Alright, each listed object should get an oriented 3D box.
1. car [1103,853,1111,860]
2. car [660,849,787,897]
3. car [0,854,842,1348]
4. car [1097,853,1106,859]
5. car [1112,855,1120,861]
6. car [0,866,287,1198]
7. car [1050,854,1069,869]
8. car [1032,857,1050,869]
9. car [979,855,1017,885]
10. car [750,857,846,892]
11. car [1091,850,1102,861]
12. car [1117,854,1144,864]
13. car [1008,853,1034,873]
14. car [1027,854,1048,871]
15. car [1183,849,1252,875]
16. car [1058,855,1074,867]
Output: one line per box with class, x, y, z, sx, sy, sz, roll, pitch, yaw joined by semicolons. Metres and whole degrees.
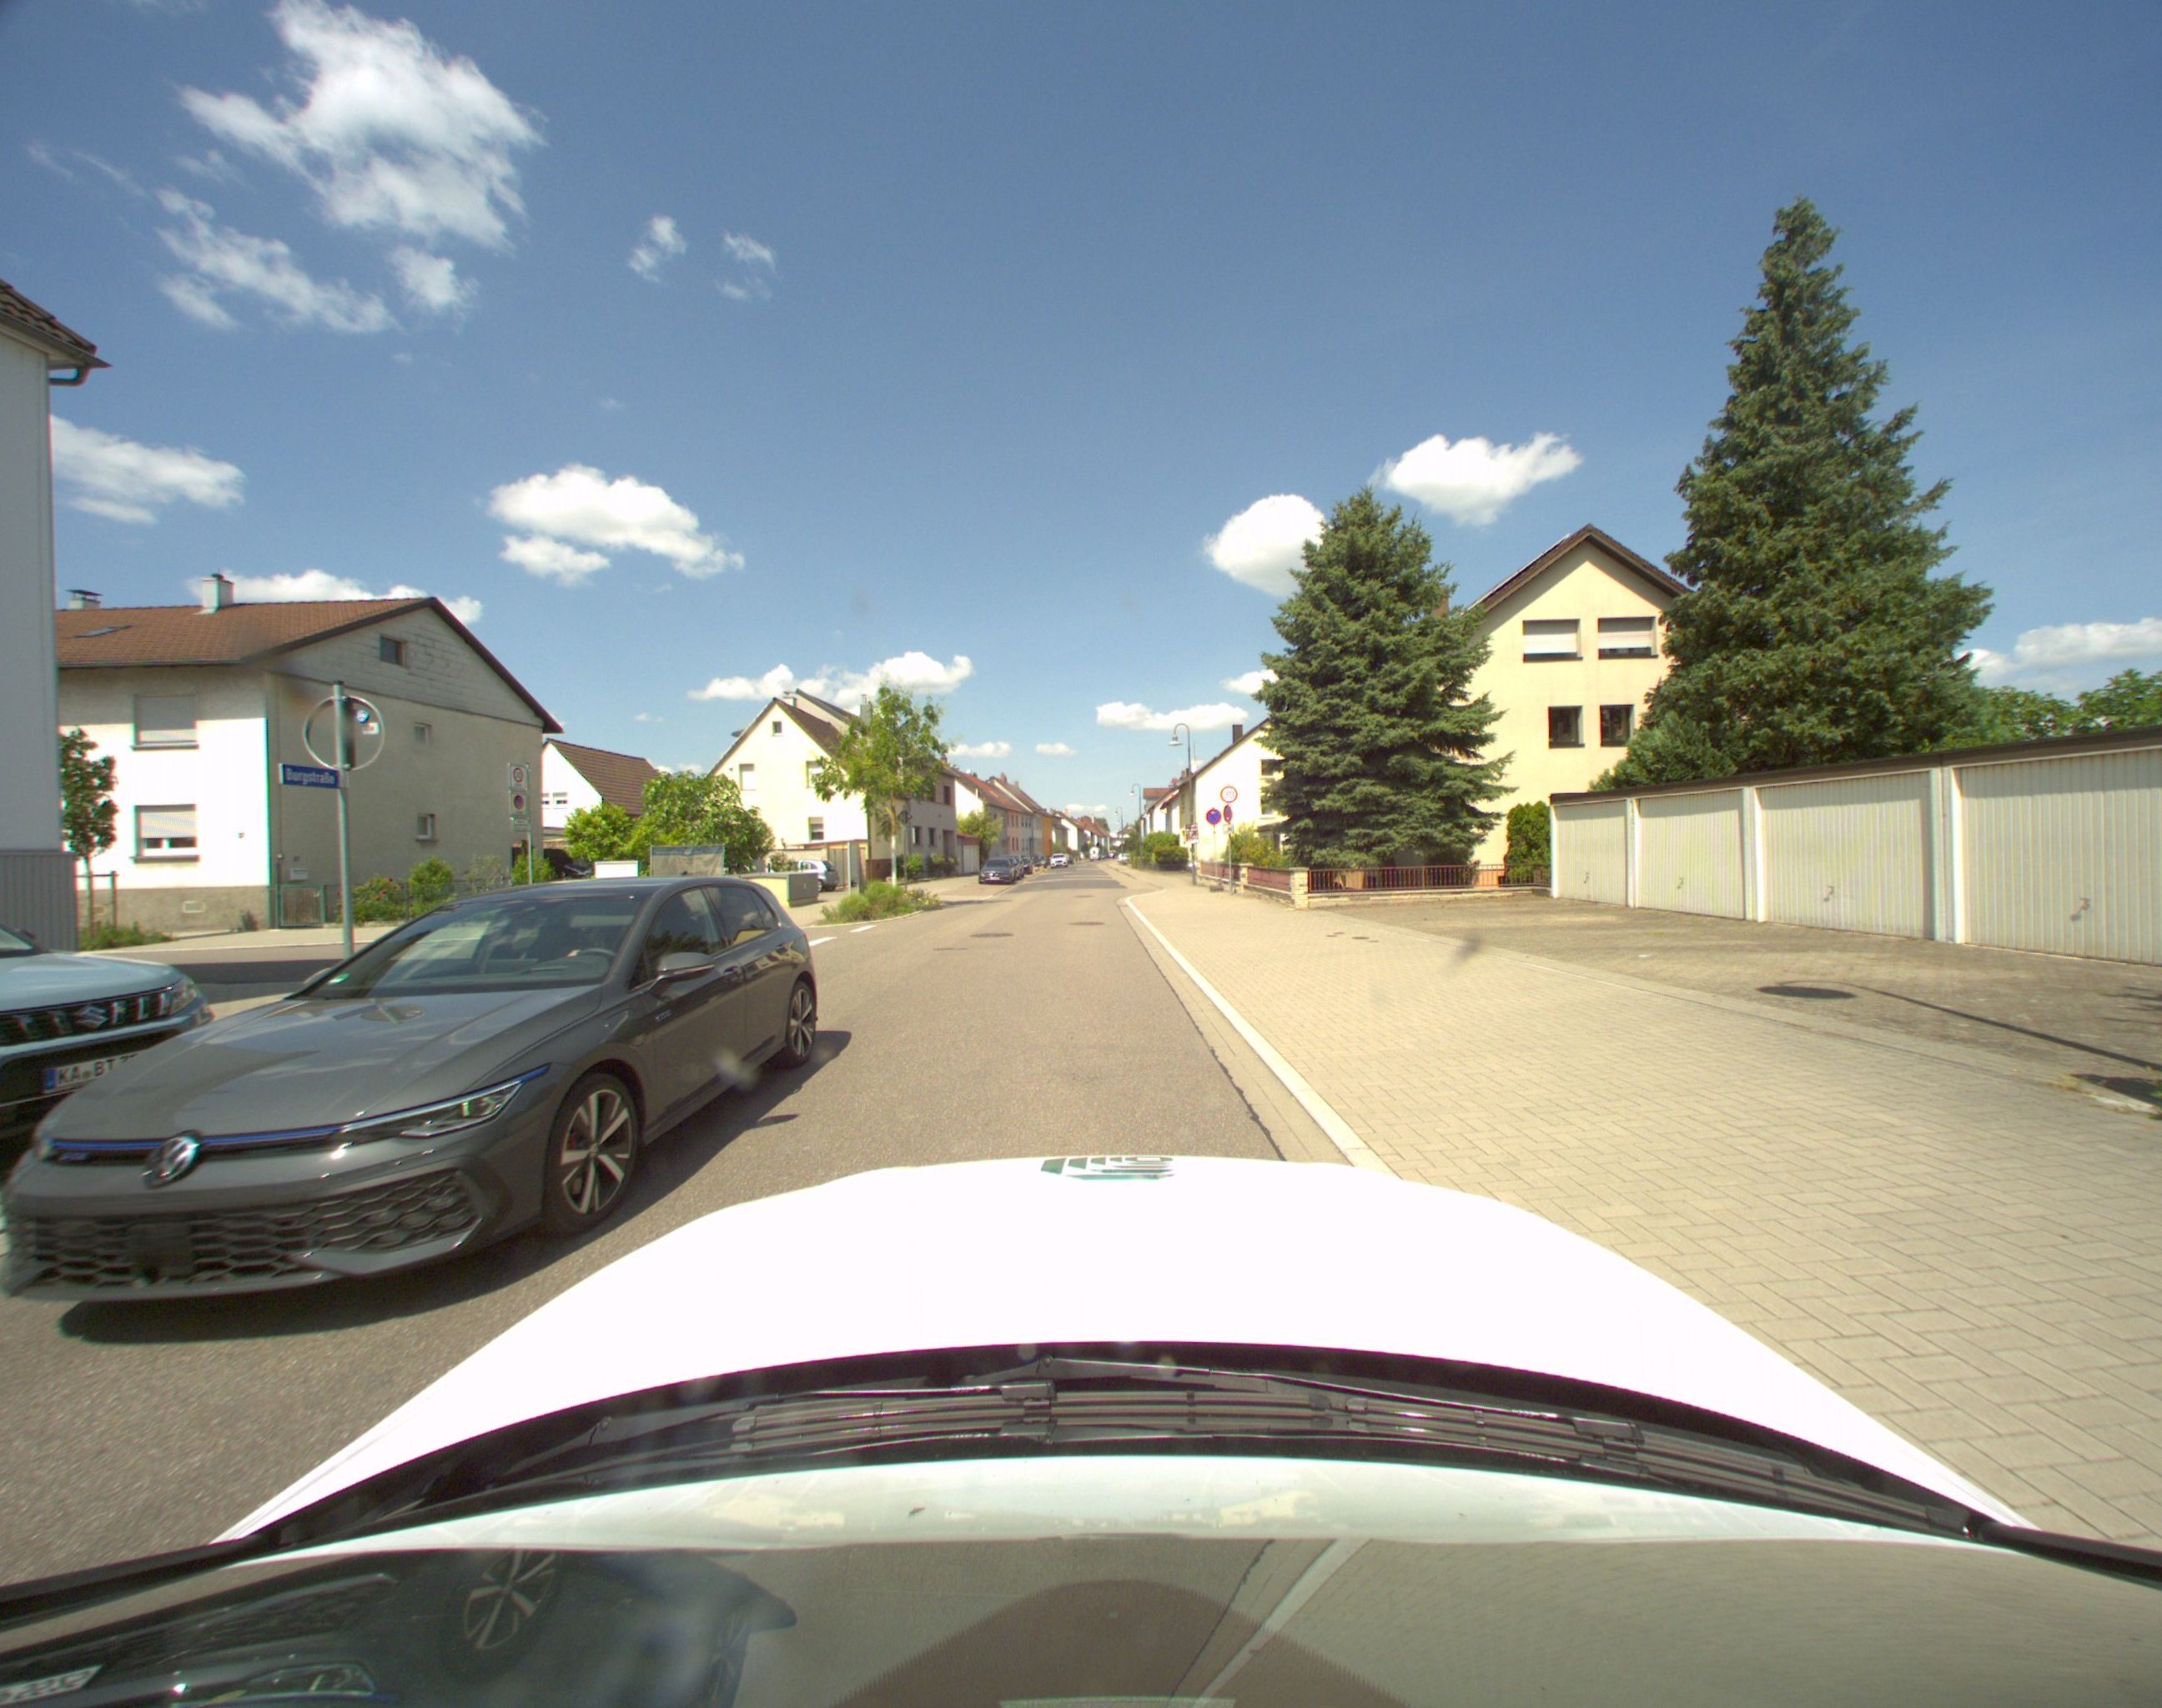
car;6.138;0.512;194.758;1.684;1.660;3.776;0;-1;4
car;-13.709;0.708;31.376;3.972;1.800;2.001;0;0;1
car;-2.884;0.811;4.691;1.757;1.523;4.048;-3;0;0
car;4.708;0.434;187.290;1.684;1.504;3.776;0;-1;4
car;7.980;0.816;185.640;1.684;1.341;3.776;0;-1;4
car;-7.353;0.877;4.491;4.161;1.619;1.772;0;-1;0
car;-2.455;0.833;95.396;1.842;1.659;4.004;1;0;3
car;-4.665;1.013;94.421;1.665;1.336;3.725;1;0;3
car;-4.713;0.878;46.482;1.811;1.433;4.137;2;1;-2
car;-12.337;0.886;35.636;3.508;1.471;1.794;0;0;4
car;3.204;0.311;164.988;2.036;2.312;3.776;0;-1;4
car;6.741;0.675;111.209;3.511;1.464;1.628;0;-1;1
car;-4.962;0.696;67.468;1.773;1.609;4.001;1;0;1
car;-4.348;0.818;82.248;1.804;1.609;4.001;1;0;1
car;8.517;0.483;51.030;3.973;1.473;1.746;-2;0;0
car;-2.115;0.935;116.412;1.842;1.659;4.004;1;0;3
